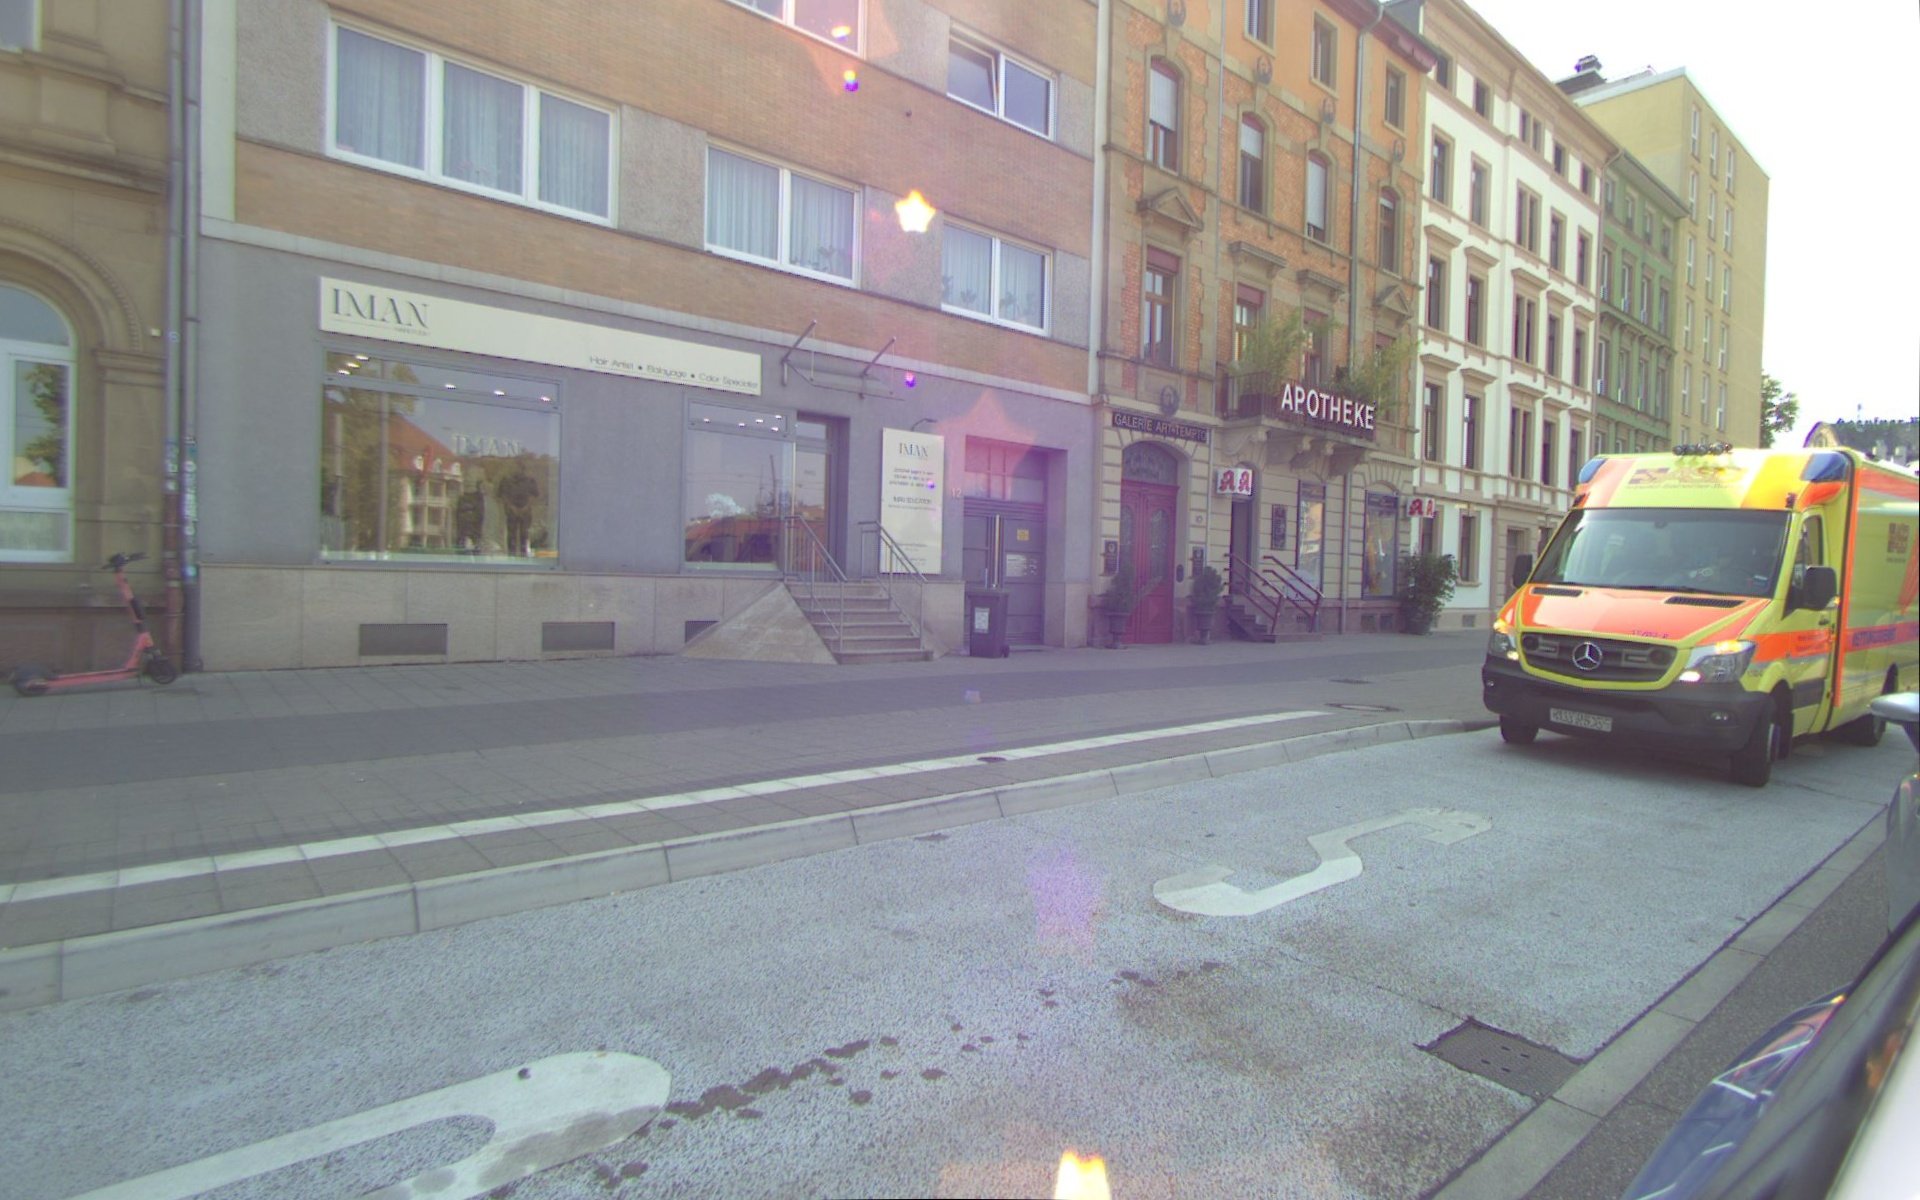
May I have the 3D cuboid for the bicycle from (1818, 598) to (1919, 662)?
[{"bbox_3d":[18.304,0.575,20.131,0.427,1.219,1.841,1,0,-39],"label":"bicycle"}]

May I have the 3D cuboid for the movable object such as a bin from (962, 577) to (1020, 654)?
[{"bbox_3d":[0.485,0.228,15.666,0.640,1.118,0.723,3,2,24],"label":"movable object such as a bin"}]

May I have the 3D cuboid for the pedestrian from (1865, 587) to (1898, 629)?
[{"bbox_3d":[40.878,0.356,44.906,0.780,1.780,0.690,2,2,-11],"label":"pedestrian"}]

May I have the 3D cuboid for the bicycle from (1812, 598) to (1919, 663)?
[{"bbox_3d":[17.967,0.575,19.865,0.427,1.219,1.841,1,0,-39],"label":"bicycle"}]

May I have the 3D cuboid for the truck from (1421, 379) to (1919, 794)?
[{"bbox_3d":[7.212,-0.168,9.638,6.221,2.803,2.336,0,4,-37],"label":"truck"}]

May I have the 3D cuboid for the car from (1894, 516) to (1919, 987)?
[{"bbox_3d":[5.291,0.534,4.111,3.929,1.608,1.728,0,1,-40],"label":"car"}]

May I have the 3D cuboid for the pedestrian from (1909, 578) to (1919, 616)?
[{"bbox_3d":[42.272,-0.133,44.321,0.780,1.648,0.647,2,2,-12],"label":"pedestrian"}]

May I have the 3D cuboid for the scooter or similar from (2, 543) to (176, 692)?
[{"bbox_3d":[-7.656,0.134,8.916,0.476,1.227,1.124,3,2,44],"label":"scooter or similar"}]
